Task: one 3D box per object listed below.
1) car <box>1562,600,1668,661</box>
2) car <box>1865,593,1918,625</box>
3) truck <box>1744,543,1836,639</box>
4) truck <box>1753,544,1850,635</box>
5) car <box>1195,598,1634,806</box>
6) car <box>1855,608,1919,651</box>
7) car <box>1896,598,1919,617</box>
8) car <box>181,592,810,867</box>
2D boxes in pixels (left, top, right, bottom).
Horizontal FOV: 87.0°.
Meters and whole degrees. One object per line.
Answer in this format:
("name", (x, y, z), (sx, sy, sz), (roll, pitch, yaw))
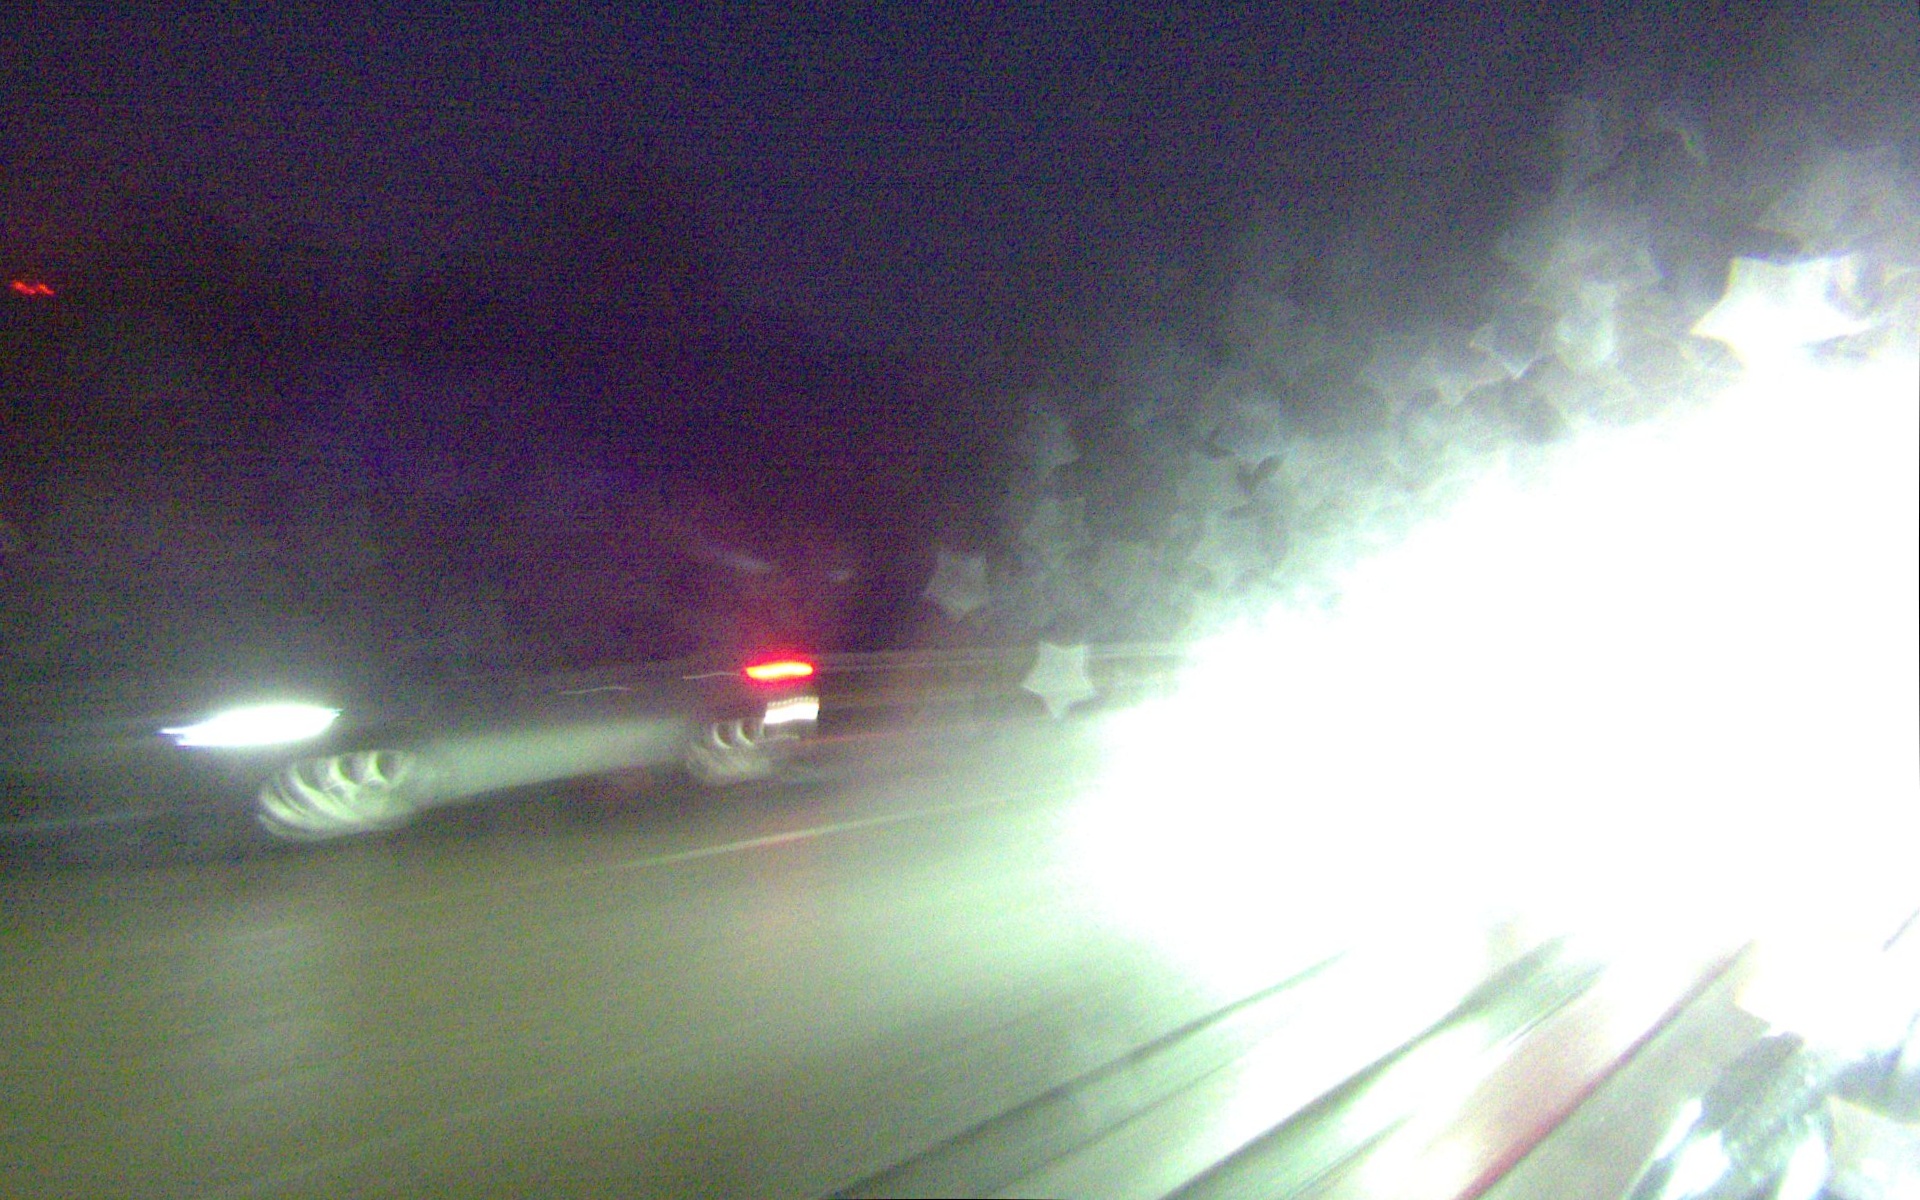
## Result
("car", (17.769, 0.751, 27.377), (1.787, 1.505, 4.263), (0, 0, 42))
("car", (43.446, 0.421, 47.177), (1.708, 1.310, 3.928), (4, 2, 43))
("truck", (40.262, -0.558, 49.009), (2.760, 4.272, 6.098), (5, 5, 44))
("truck", (45.145, -0.799, 54.071), (2.760, 4.272, 13.611), (5, 5, 44))
("car", (4.309, 0.723, 9.327), (4.257, 1.467, 1.998), (0, 0, -39))
("car", (32.314, 1.010, 35.119), (1.708, 1.310, 3.928), (4, 2, 43))
("car", (70.380, 0.557, 74.763), (1.708, 1.310, 3.928), (4, 2, 43))
("car", (-3.255, 0.712, 7.620), (3.978, 1.516, 1.720), (0, 0, -45))
